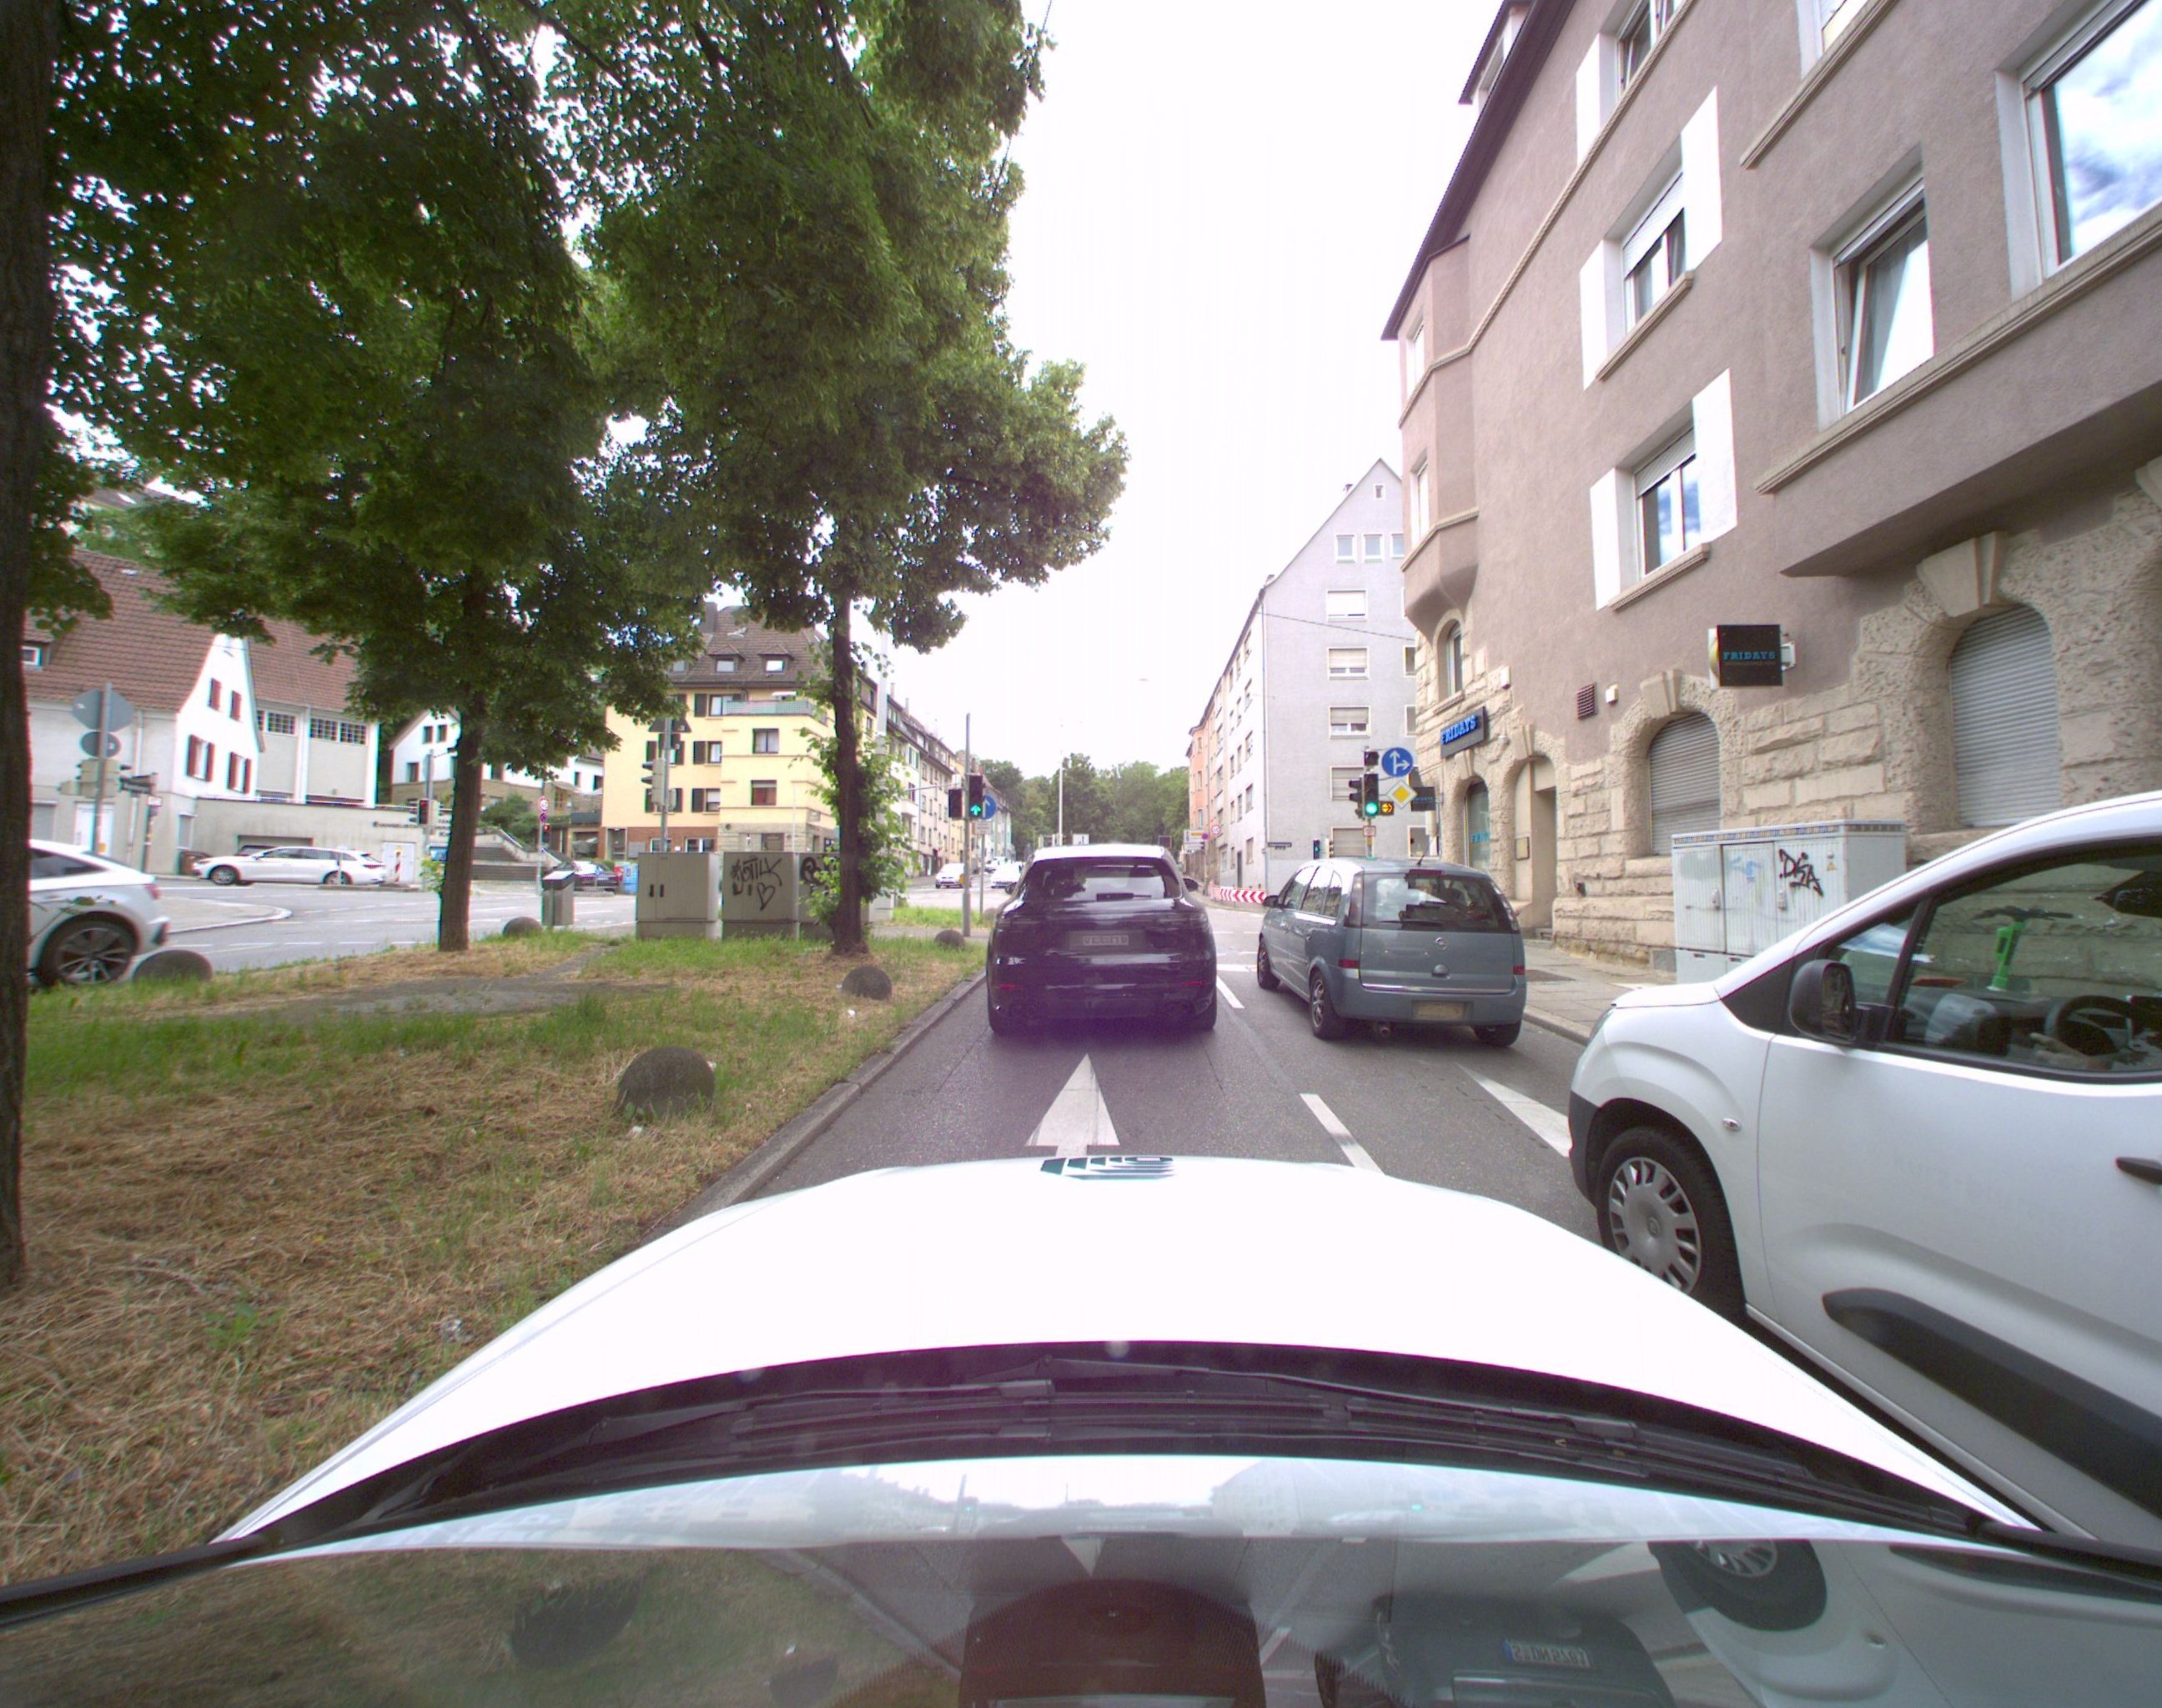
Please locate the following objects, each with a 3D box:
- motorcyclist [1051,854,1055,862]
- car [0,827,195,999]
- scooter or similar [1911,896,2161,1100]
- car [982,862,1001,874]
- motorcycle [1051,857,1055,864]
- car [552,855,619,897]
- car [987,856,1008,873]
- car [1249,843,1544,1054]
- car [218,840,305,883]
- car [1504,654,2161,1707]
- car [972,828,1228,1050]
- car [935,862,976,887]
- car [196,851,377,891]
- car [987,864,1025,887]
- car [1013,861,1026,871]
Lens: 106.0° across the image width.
[{"bbox_3d":[-4.289,0.659,125.426,0.510,1.226,0.467,0,-1,2],"label":"motorcyclist"},{"bbox_3d":[-11.249,0.578,7.161,1.887,1.627,4.493,0,1,2],"label":"car"},{"bbox_3d":[6.470,0.867,5.406,0.524,1.104,1.424,-1,-1,4],"label":"scooter or similar"},{"bbox_3d":[-10.884,1.649,99.082,1.732,1.387,3.815,0,0,2],"label":"car"},{"bbox_3d":[-4.286,1.015,125.448,0.509,1.040,1.390,0,-1,2],"label":"motorcycle"},{"bbox_3d":[-23.661,1.013,38.839,3.477,1.596,1.881,7,4,44],"label":"car"},{"bbox_3d":[-10.678,1.321,104.893,2.008,2.045,4.669,0,-1,2],"label":"car"},{"bbox_3d":[2.878,0.760,8.280,1.622,1.598,3.670,3,0,2],"label":"car"},{"bbox_3d":[-32.187,0.291,31.978,3.018,1.405,1.681,3,-4,33],"label":"car"},{"bbox_3d":[2.782,0.593,1.090,1.969,1.775,4.676,3,0,0],"label":"car"},{"bbox_3d":[0.206,0.673,8.279,1.948,1.674,4.001,-1,-1,2],"label":"car"},{"bbox_3d":[-7.785,1.267,50.889,1.611,1.480,3.828,-1,-2,5],"label":"car"},{"bbox_3d":[-26.769,0.535,27.648,4.150,1.279,1.631,0,-1,-33],"label":"car"},{"bbox_3d":[-4.631,1.316,50.948,1.854,1.388,4.096,0,0,2],"label":"car"},{"bbox_3d":[-9.484,1.868,125.683,1.682,1.538,3.815,0,-1,2],"label":"car"}]
